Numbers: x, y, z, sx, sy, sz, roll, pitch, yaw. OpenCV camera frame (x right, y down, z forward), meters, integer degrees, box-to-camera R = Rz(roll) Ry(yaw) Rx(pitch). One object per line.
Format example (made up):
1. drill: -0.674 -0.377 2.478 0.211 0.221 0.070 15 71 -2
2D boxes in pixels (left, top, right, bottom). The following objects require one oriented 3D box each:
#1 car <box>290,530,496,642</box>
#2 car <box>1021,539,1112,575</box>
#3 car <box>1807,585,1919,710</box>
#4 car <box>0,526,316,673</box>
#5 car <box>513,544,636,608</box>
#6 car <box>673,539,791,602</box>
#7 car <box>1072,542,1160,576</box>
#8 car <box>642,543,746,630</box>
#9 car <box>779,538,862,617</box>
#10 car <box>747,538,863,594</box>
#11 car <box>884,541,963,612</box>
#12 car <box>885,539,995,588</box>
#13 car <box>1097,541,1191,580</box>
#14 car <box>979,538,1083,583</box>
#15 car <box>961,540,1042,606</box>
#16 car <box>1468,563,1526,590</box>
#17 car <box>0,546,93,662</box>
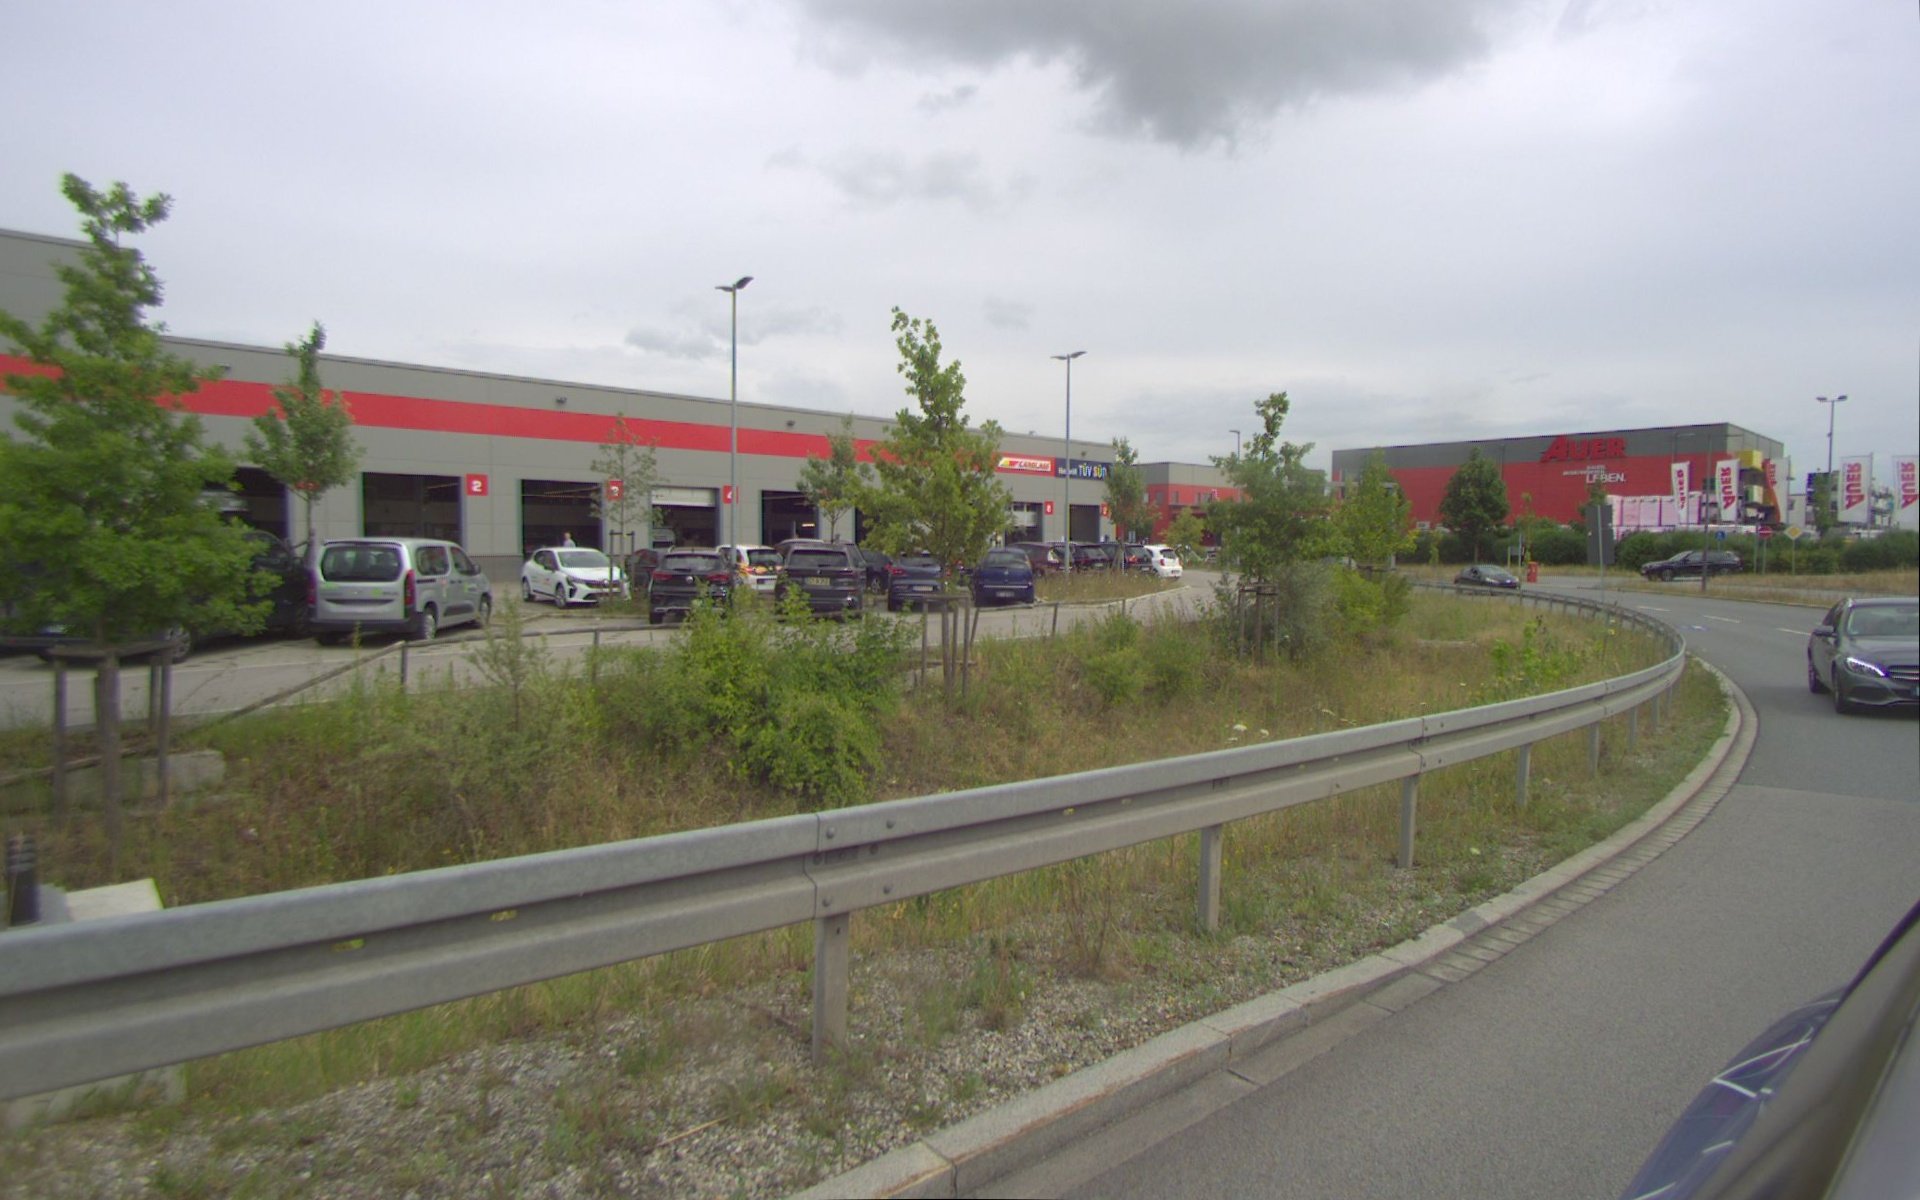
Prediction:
1. car: -10.085 -0.359 18.403 1.867 1.731 4.087 0 5 -7
2. car: 4.106 -1.636 39.112 3.312 1.340 1.458 1 2 44
3. car: 12.952 0.551 13.735 1.753 1.437 4.043 -1 1 33
4. car: -12.088 -0.146 15.632 1.868 1.930 4.084 1 4 -4
5. car: -9.838 -0.671 25.686 1.564 1.439 4.196 -2 4 -41
6. car: -6.566 -0.889 28.960 3.689 1.658 1.566 4 4 44
7. car: 6.255 -1.662 40.774 3.313 1.339 1.458 2 3 44
8. car: -5.723 -0.380 22.192 1.617 1.641 4.085 1 4 -6
9. car: -3.267 -0.522 23.635 1.701 1.642 4.084 2 1 -8
10. car: -4.731 -1.067 30.610 3.689 1.563 1.566 4 4 44
11. car: -1.051 -0.707 27.120 1.792 1.641 4.085 2 4 -6
12. car: -0.697 -1.235 33.936 3.688 1.563 1.566 3 3 44
13. car: 7.757 -1.663 42.927 3.687 1.564 1.566 0 2 44
14. car: 2.576 -1.432 37.296 3.687 1.564 1.566 0 2 44
15. car: 1.105 -0.843 29.077 1.702 1.641 4.085 2 4 -6
16. car: 27.273 -1.219 51.508 1.740 1.334 3.942 -1 2 15
17. car: -14.592 0.104 14.045 1.736 1.598 4.083 1 4 -3
